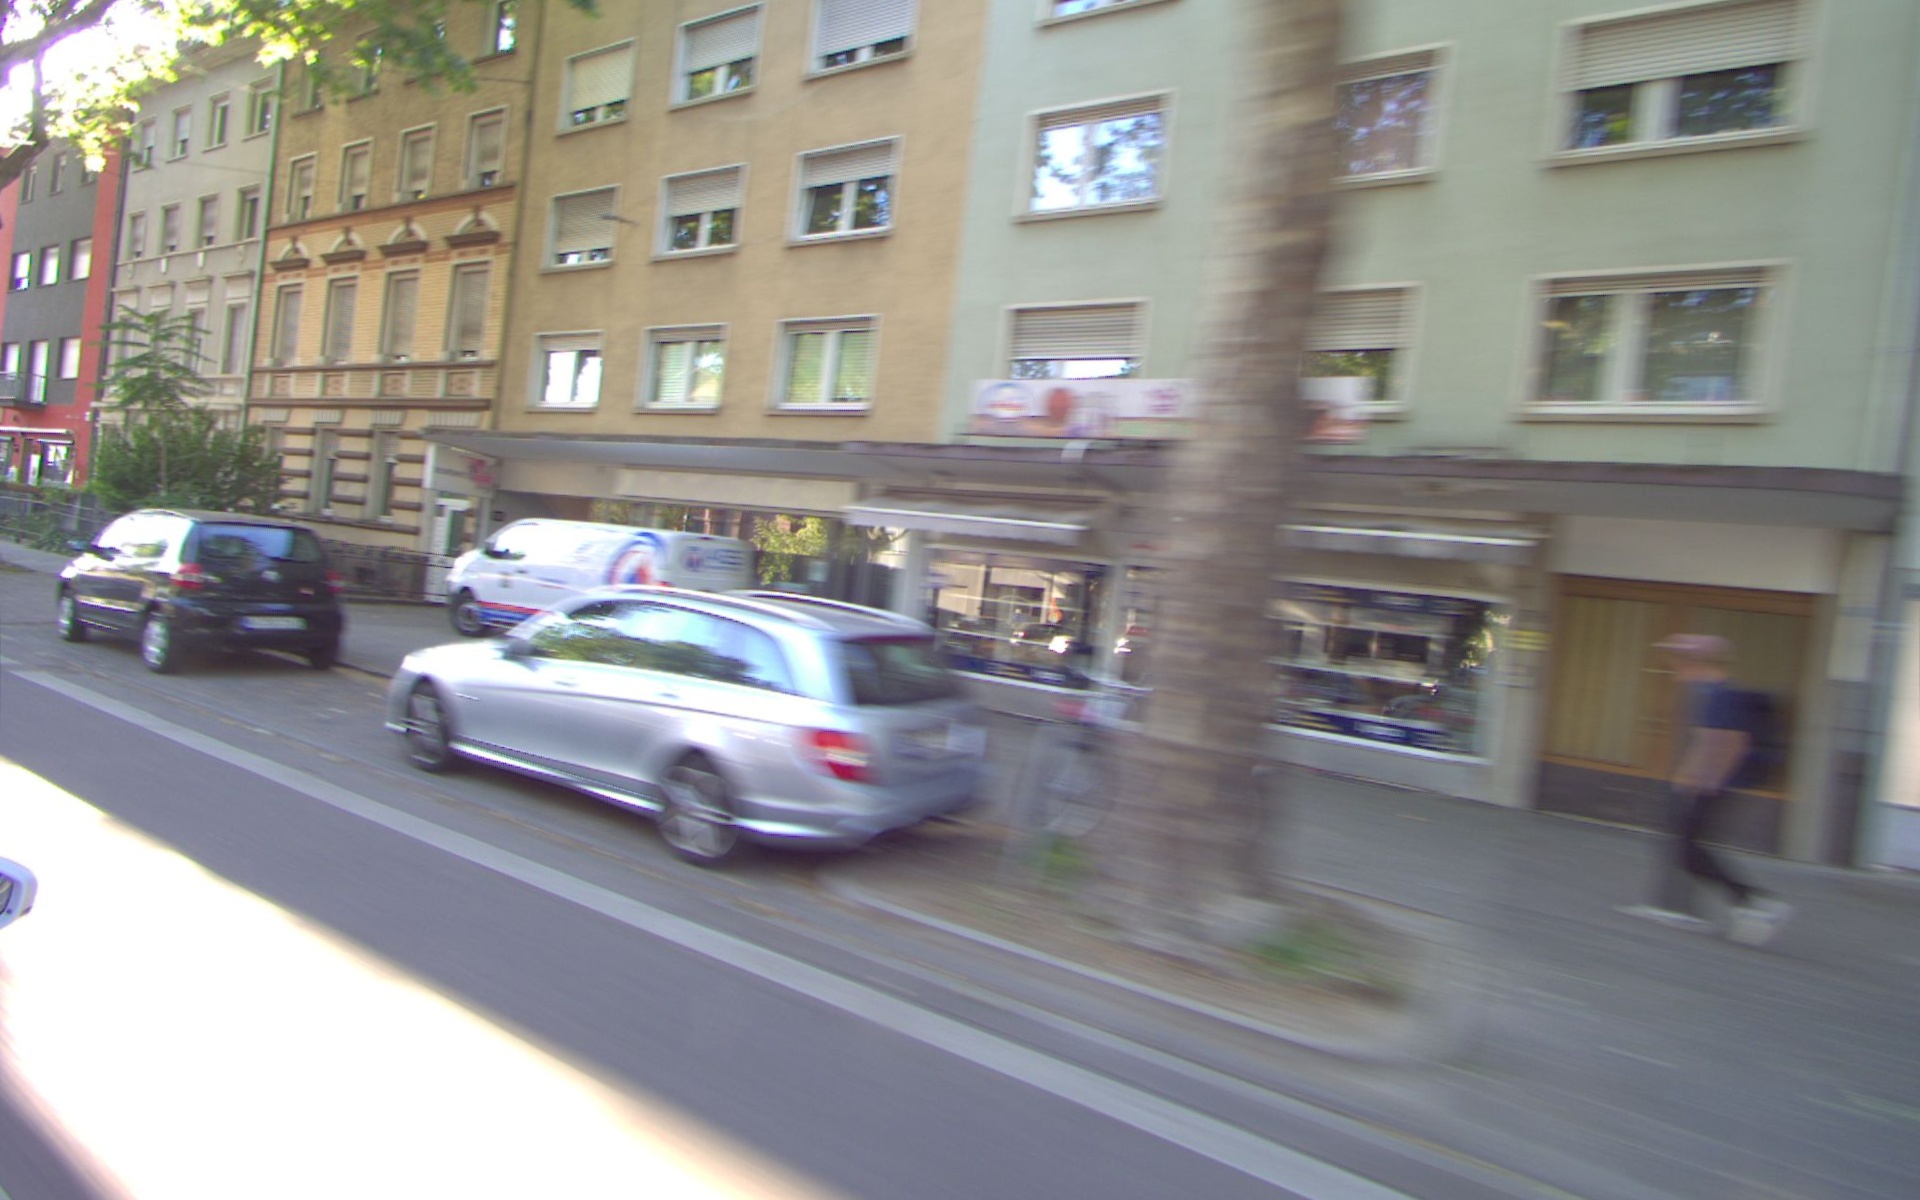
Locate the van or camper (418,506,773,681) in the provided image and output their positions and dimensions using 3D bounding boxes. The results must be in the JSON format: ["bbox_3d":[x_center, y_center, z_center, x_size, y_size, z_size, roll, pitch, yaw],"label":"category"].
[{"bbox_3d":[-5.543,-0.148,15.016,5.301,1.946,1.944,7,0,31],"label":"van or camper"}]

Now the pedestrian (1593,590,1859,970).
[{"bbox_3d":[4.596,1.018,6.139,0.995,2.040,0.683,8,3,31],"label":"pedestrian"}]

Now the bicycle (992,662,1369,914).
[{"bbox_3d":[1.332,1.110,6.301,2.042,1.143,0.773,8,-2,11],"label":"bicycle"}]

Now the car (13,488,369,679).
[{"bbox_3d":[-8.379,-0.205,10.887,3.933,1.564,1.655,7,0,31],"label":"car"}]

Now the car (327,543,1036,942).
[{"bbox_3d":[-2.040,0.674,6.735,4.697,1.561,1.697,7,0,31],"label":"car"}]
